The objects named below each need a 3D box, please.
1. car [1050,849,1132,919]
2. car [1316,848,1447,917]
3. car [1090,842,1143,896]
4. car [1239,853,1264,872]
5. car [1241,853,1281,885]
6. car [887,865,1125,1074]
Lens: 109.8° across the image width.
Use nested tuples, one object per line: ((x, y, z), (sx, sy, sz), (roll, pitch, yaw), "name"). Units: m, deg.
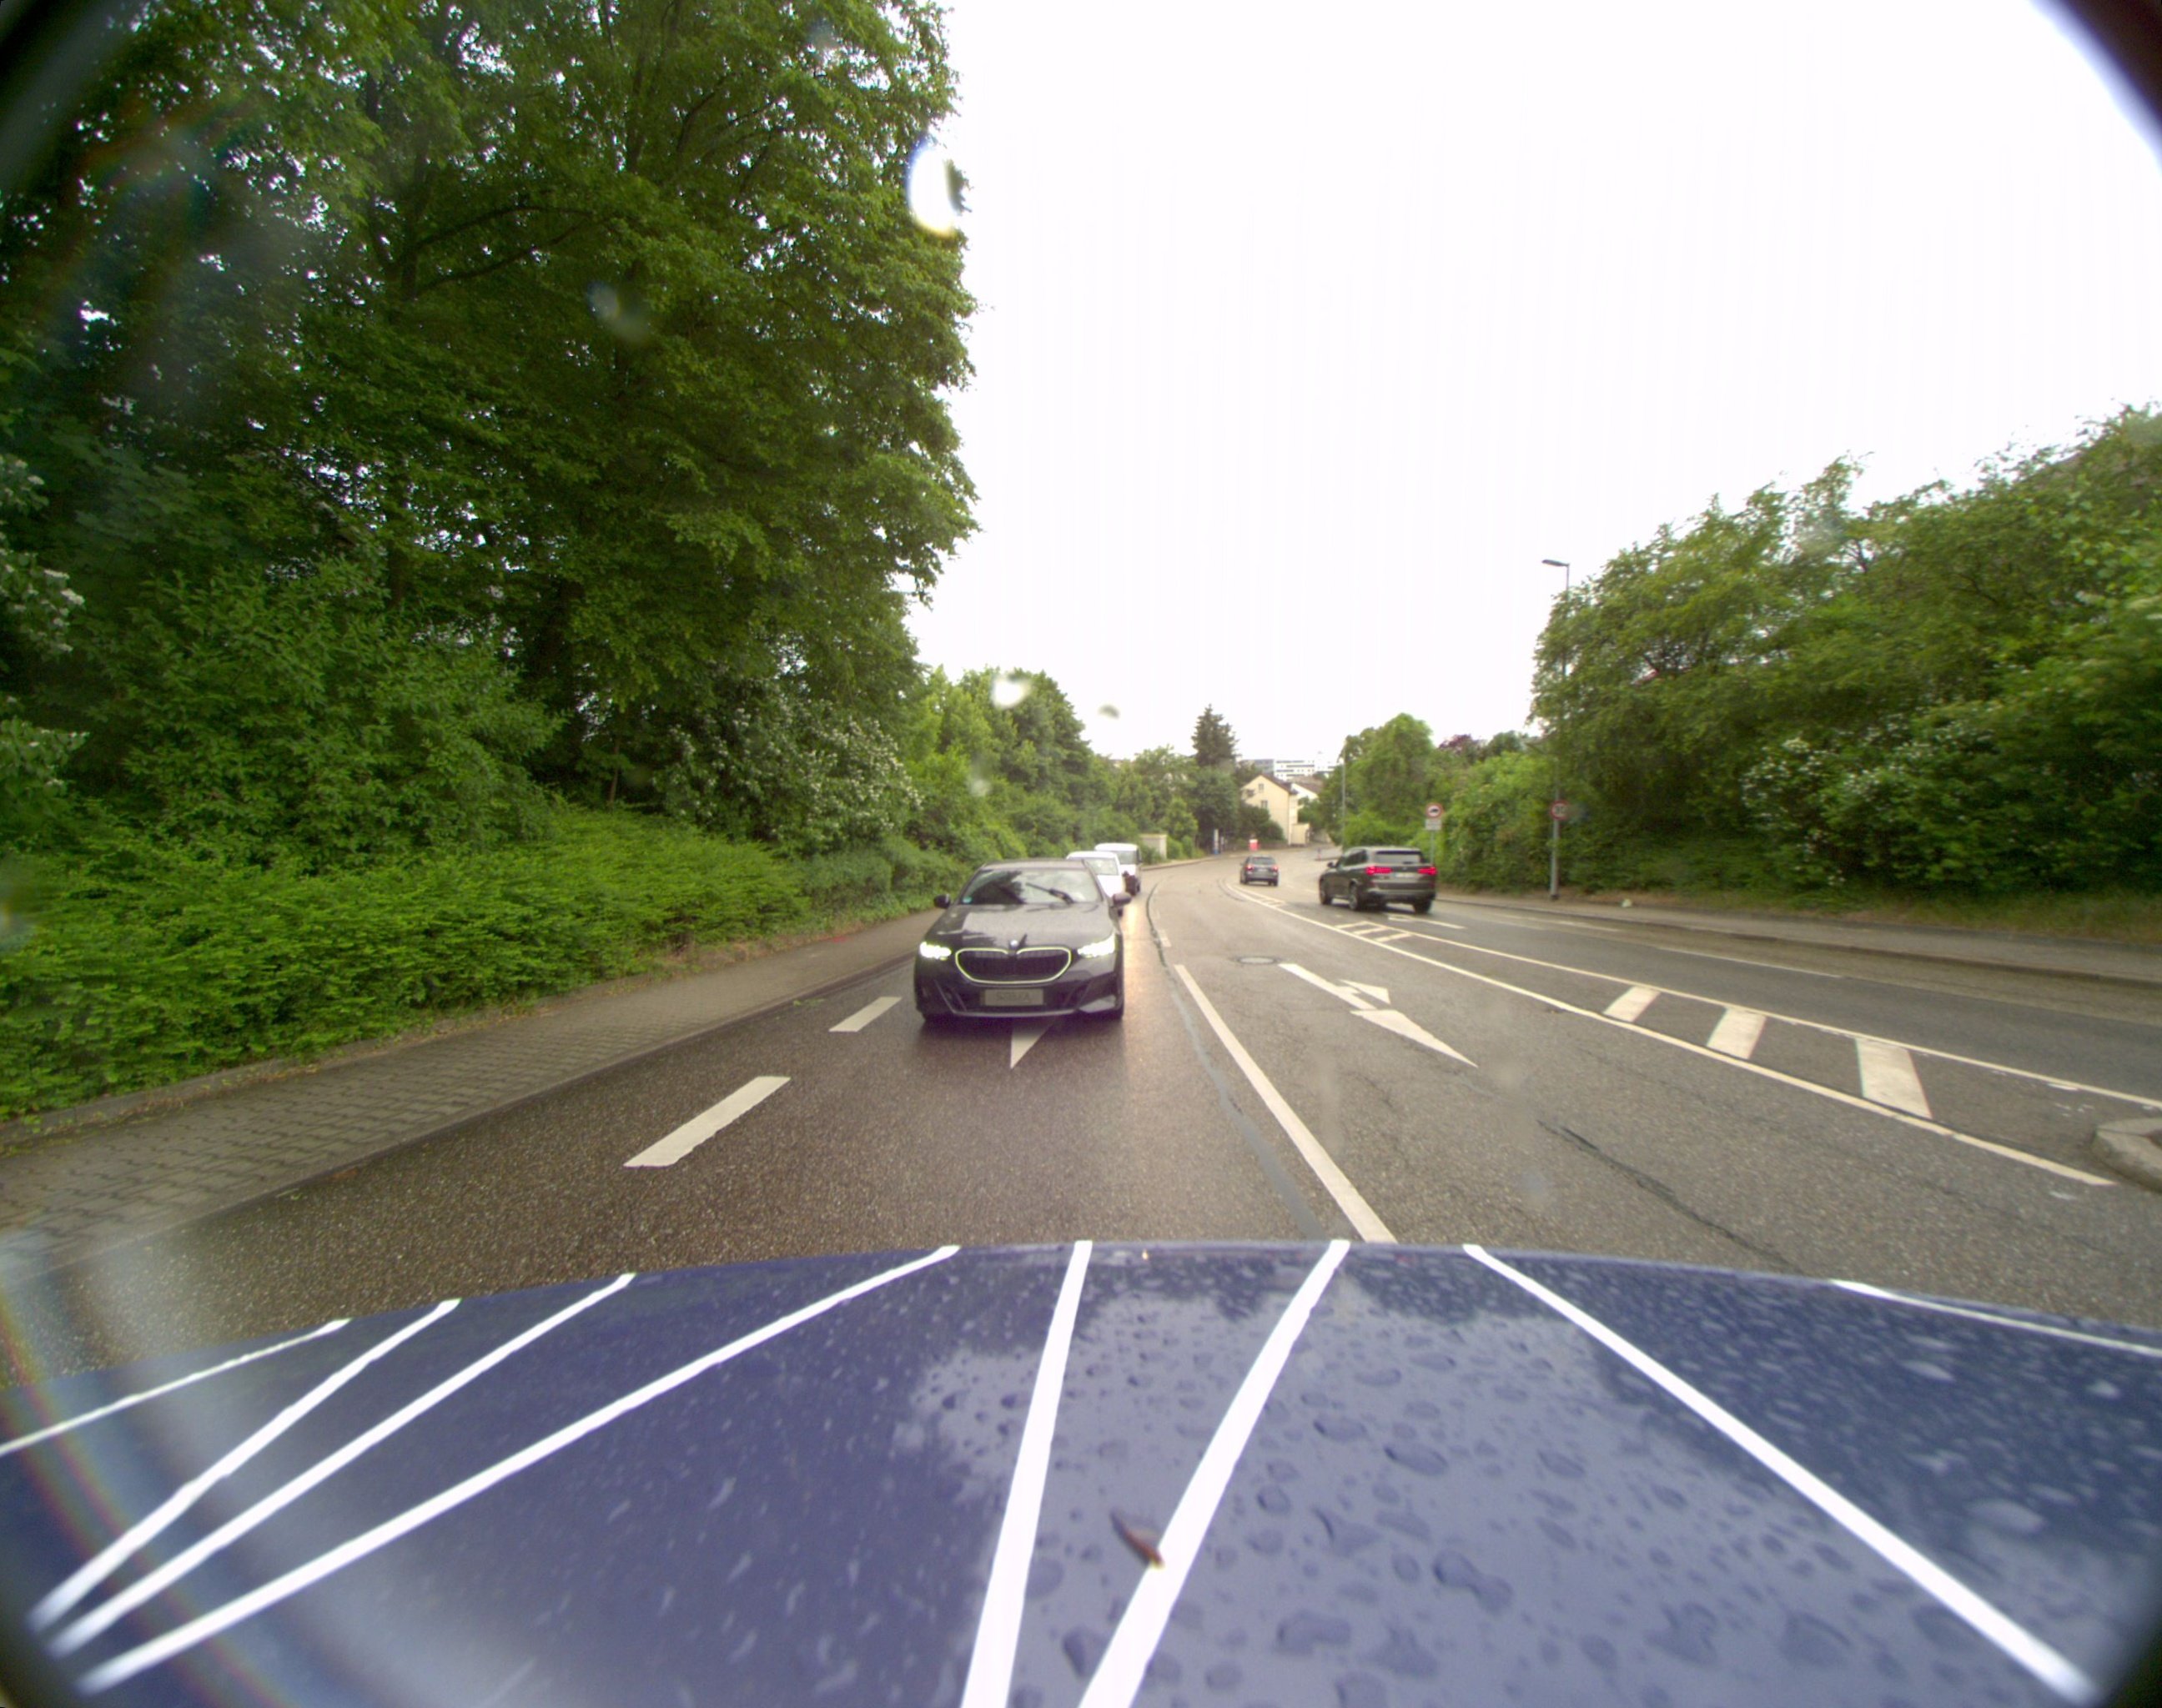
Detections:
((0.236, 0.684, 19.500), (1.818, 1.431, 3.999), (3, 2, 0), "car")
((8.225, 0.690, 21.322), (1.998, 1.707, 4.718), (0, 0, 3), "car")
((1.360, 0.483, 27.970), (1.777, 1.765, 4.000), (1, 2, 5), "car")
((13.847, 0.663, 61.998), (1.898, 1.500, 4.003), (1, 0, 12), "car")
((9.597, 0.752, 40.827), (1.745, 1.593, 4.034), (1, 0, 9), "car")
((-0.514, 0.942, 8.104), (1.872, 1.497, 4.197), (1, 1, 2), "car")
